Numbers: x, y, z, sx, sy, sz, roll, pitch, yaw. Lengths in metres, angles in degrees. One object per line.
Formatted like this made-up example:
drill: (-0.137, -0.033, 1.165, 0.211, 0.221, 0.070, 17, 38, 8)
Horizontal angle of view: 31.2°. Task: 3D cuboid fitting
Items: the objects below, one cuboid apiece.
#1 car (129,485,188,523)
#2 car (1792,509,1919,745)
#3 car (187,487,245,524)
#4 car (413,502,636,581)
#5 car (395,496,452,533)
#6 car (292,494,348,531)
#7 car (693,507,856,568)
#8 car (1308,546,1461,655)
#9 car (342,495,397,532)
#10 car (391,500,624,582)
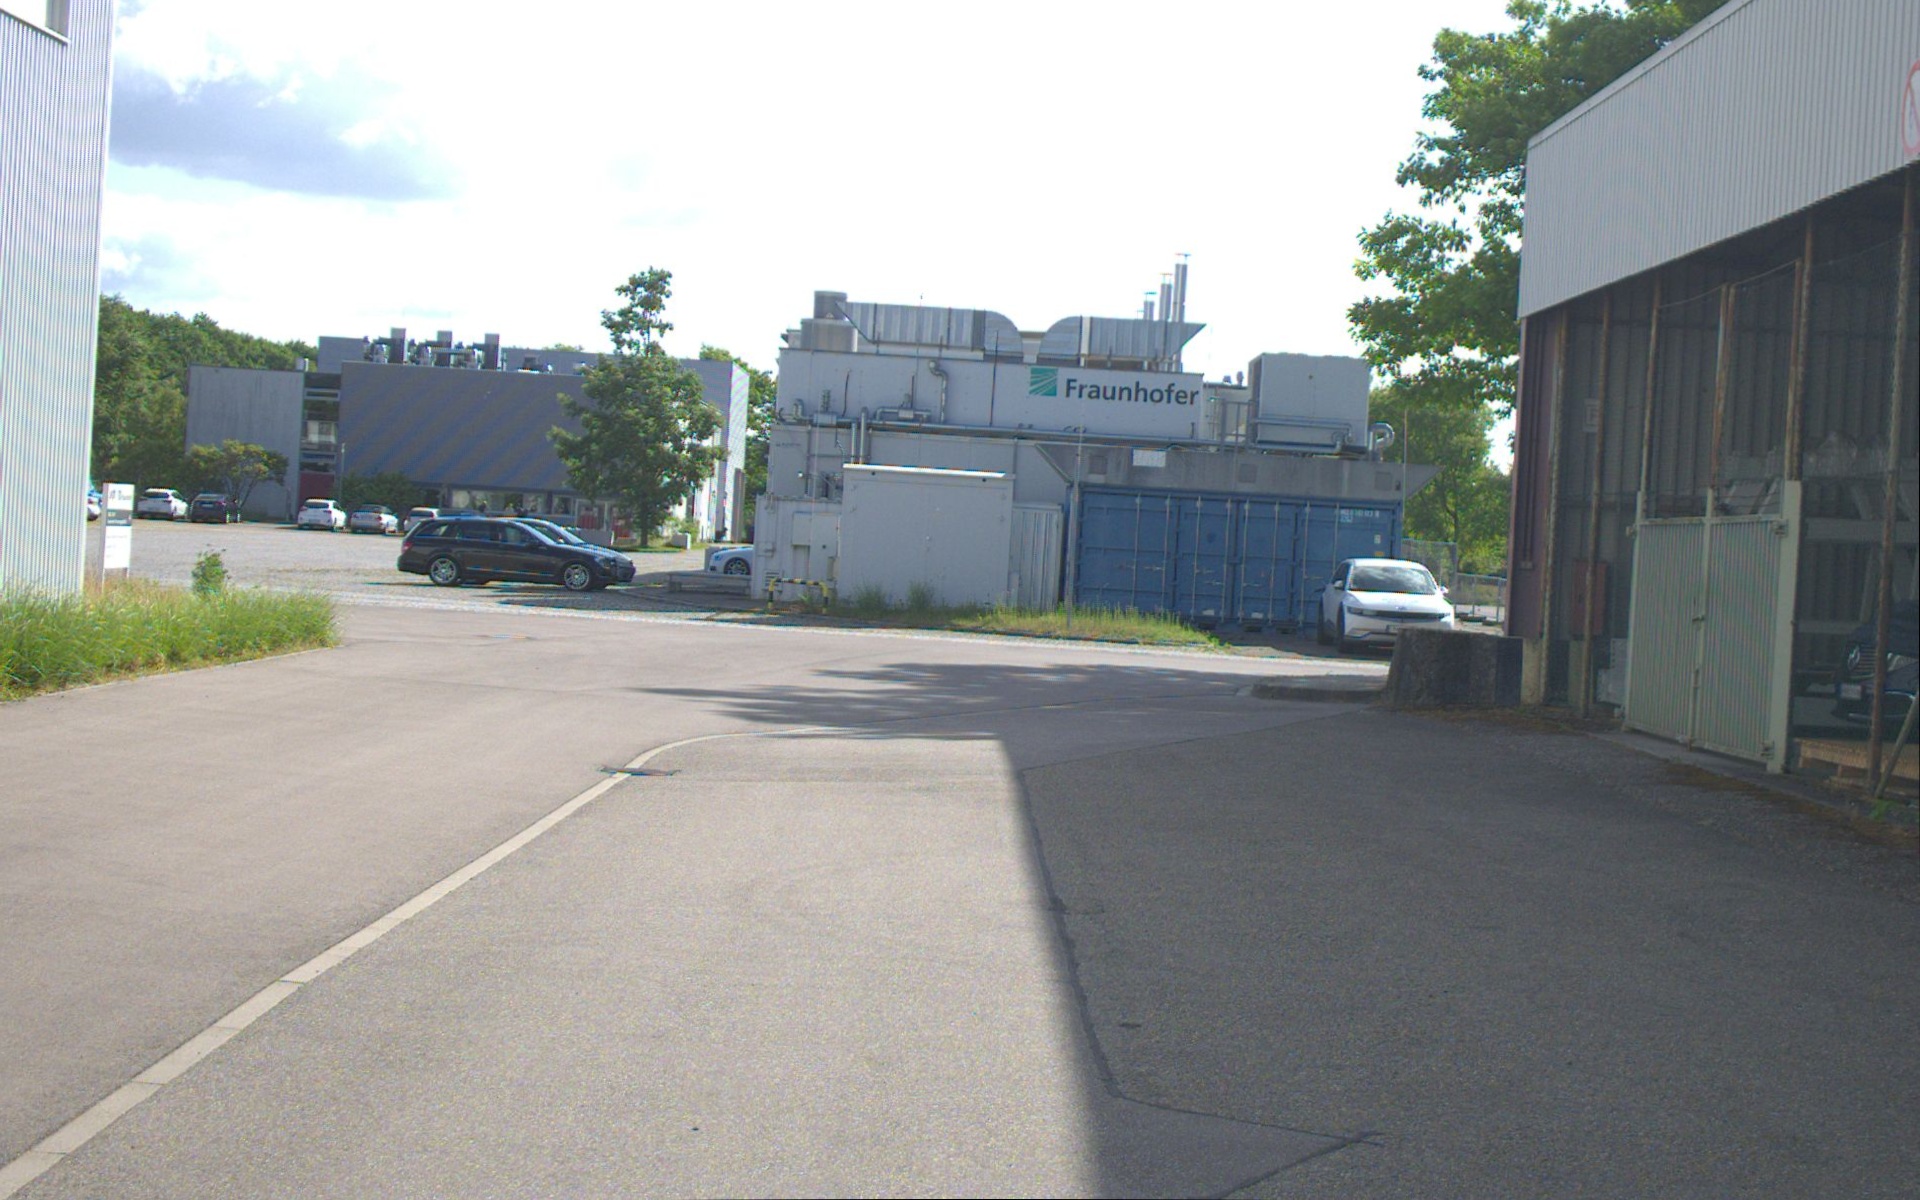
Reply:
car: (-39.262, -4.703, 168.513, 1.993, 1.730, 4.000, 1, 1, -1)
car: (9.872, 0.303, 28.702, 5.236, 1.870, 2.000, 3, 1, -5)
car: (-36.456, -4.628, 168.453, 1.993, 1.730, 4.000, 1, 1, -1)
car: (-9.465, -1.277, 75.016, 4.526, 1.503, 1.909, 2, 1, 2)
car: (-26.348, -4.183, 168.925, 2.193, 1.730, 4.000, 1, 1, -1)
car: (-31.430, -4.287, 168.944, 1.993, 1.730, 4.000, 1, 1, -1)
car: (-5.342, -1.803, 99.363, 4.526, 1.503, 1.909, 3, 1, 1)
car: (7.235, -0.031, 58.998, 1.993, 1.580, 4.173, 3, 3, -1)
car: (-28.933, -4.216, 168.587, 1.993, 1.730, 4.000, 1, 1, -1)
car: (-9.423, -1.234, 71.779, 4.526, 1.503, 1.909, 2, 1, 2)
